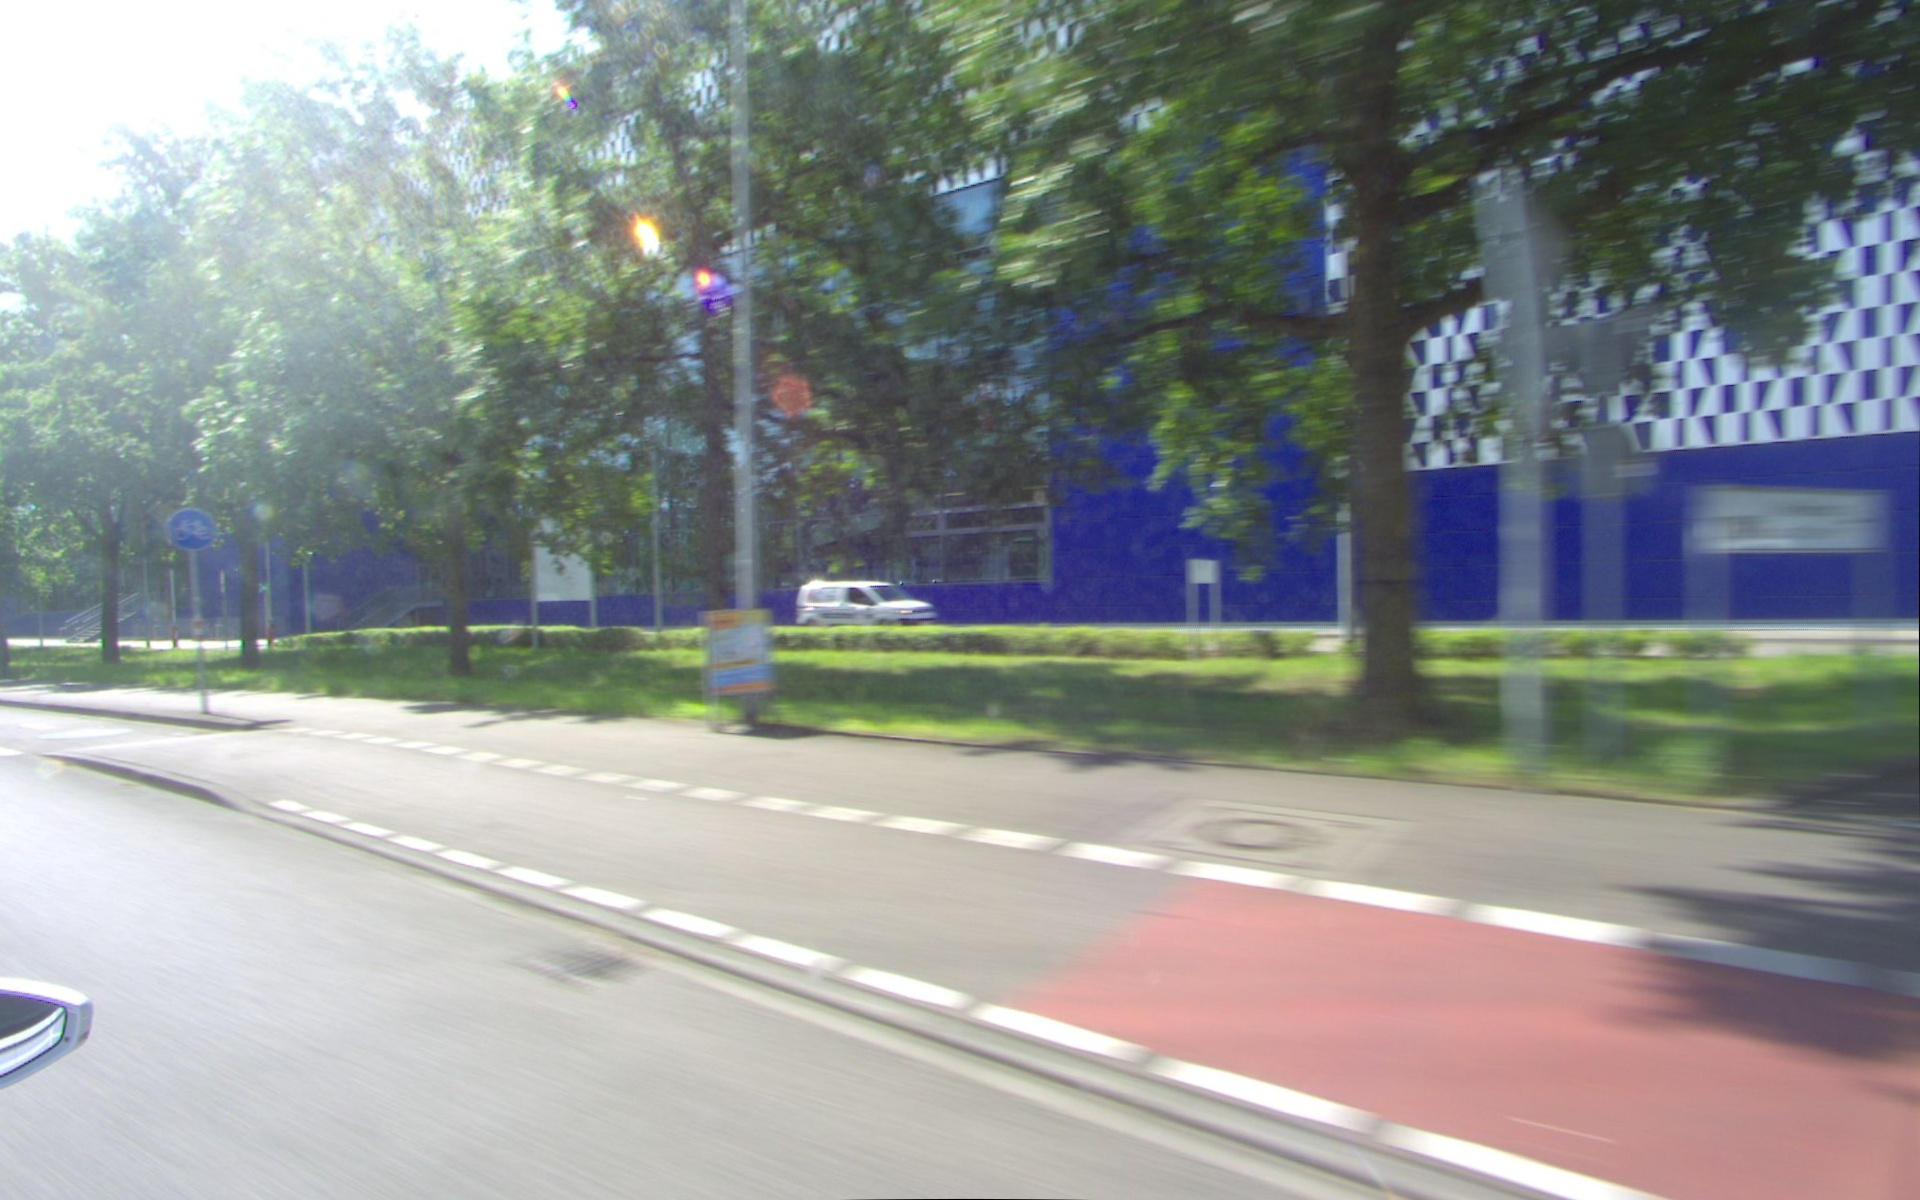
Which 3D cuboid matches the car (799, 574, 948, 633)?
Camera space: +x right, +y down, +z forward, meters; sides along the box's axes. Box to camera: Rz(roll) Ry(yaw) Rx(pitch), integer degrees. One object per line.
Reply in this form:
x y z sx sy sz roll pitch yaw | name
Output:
-2.625 0.140 30.041 4.242 1.660 1.847 -1 -1 32 | car
